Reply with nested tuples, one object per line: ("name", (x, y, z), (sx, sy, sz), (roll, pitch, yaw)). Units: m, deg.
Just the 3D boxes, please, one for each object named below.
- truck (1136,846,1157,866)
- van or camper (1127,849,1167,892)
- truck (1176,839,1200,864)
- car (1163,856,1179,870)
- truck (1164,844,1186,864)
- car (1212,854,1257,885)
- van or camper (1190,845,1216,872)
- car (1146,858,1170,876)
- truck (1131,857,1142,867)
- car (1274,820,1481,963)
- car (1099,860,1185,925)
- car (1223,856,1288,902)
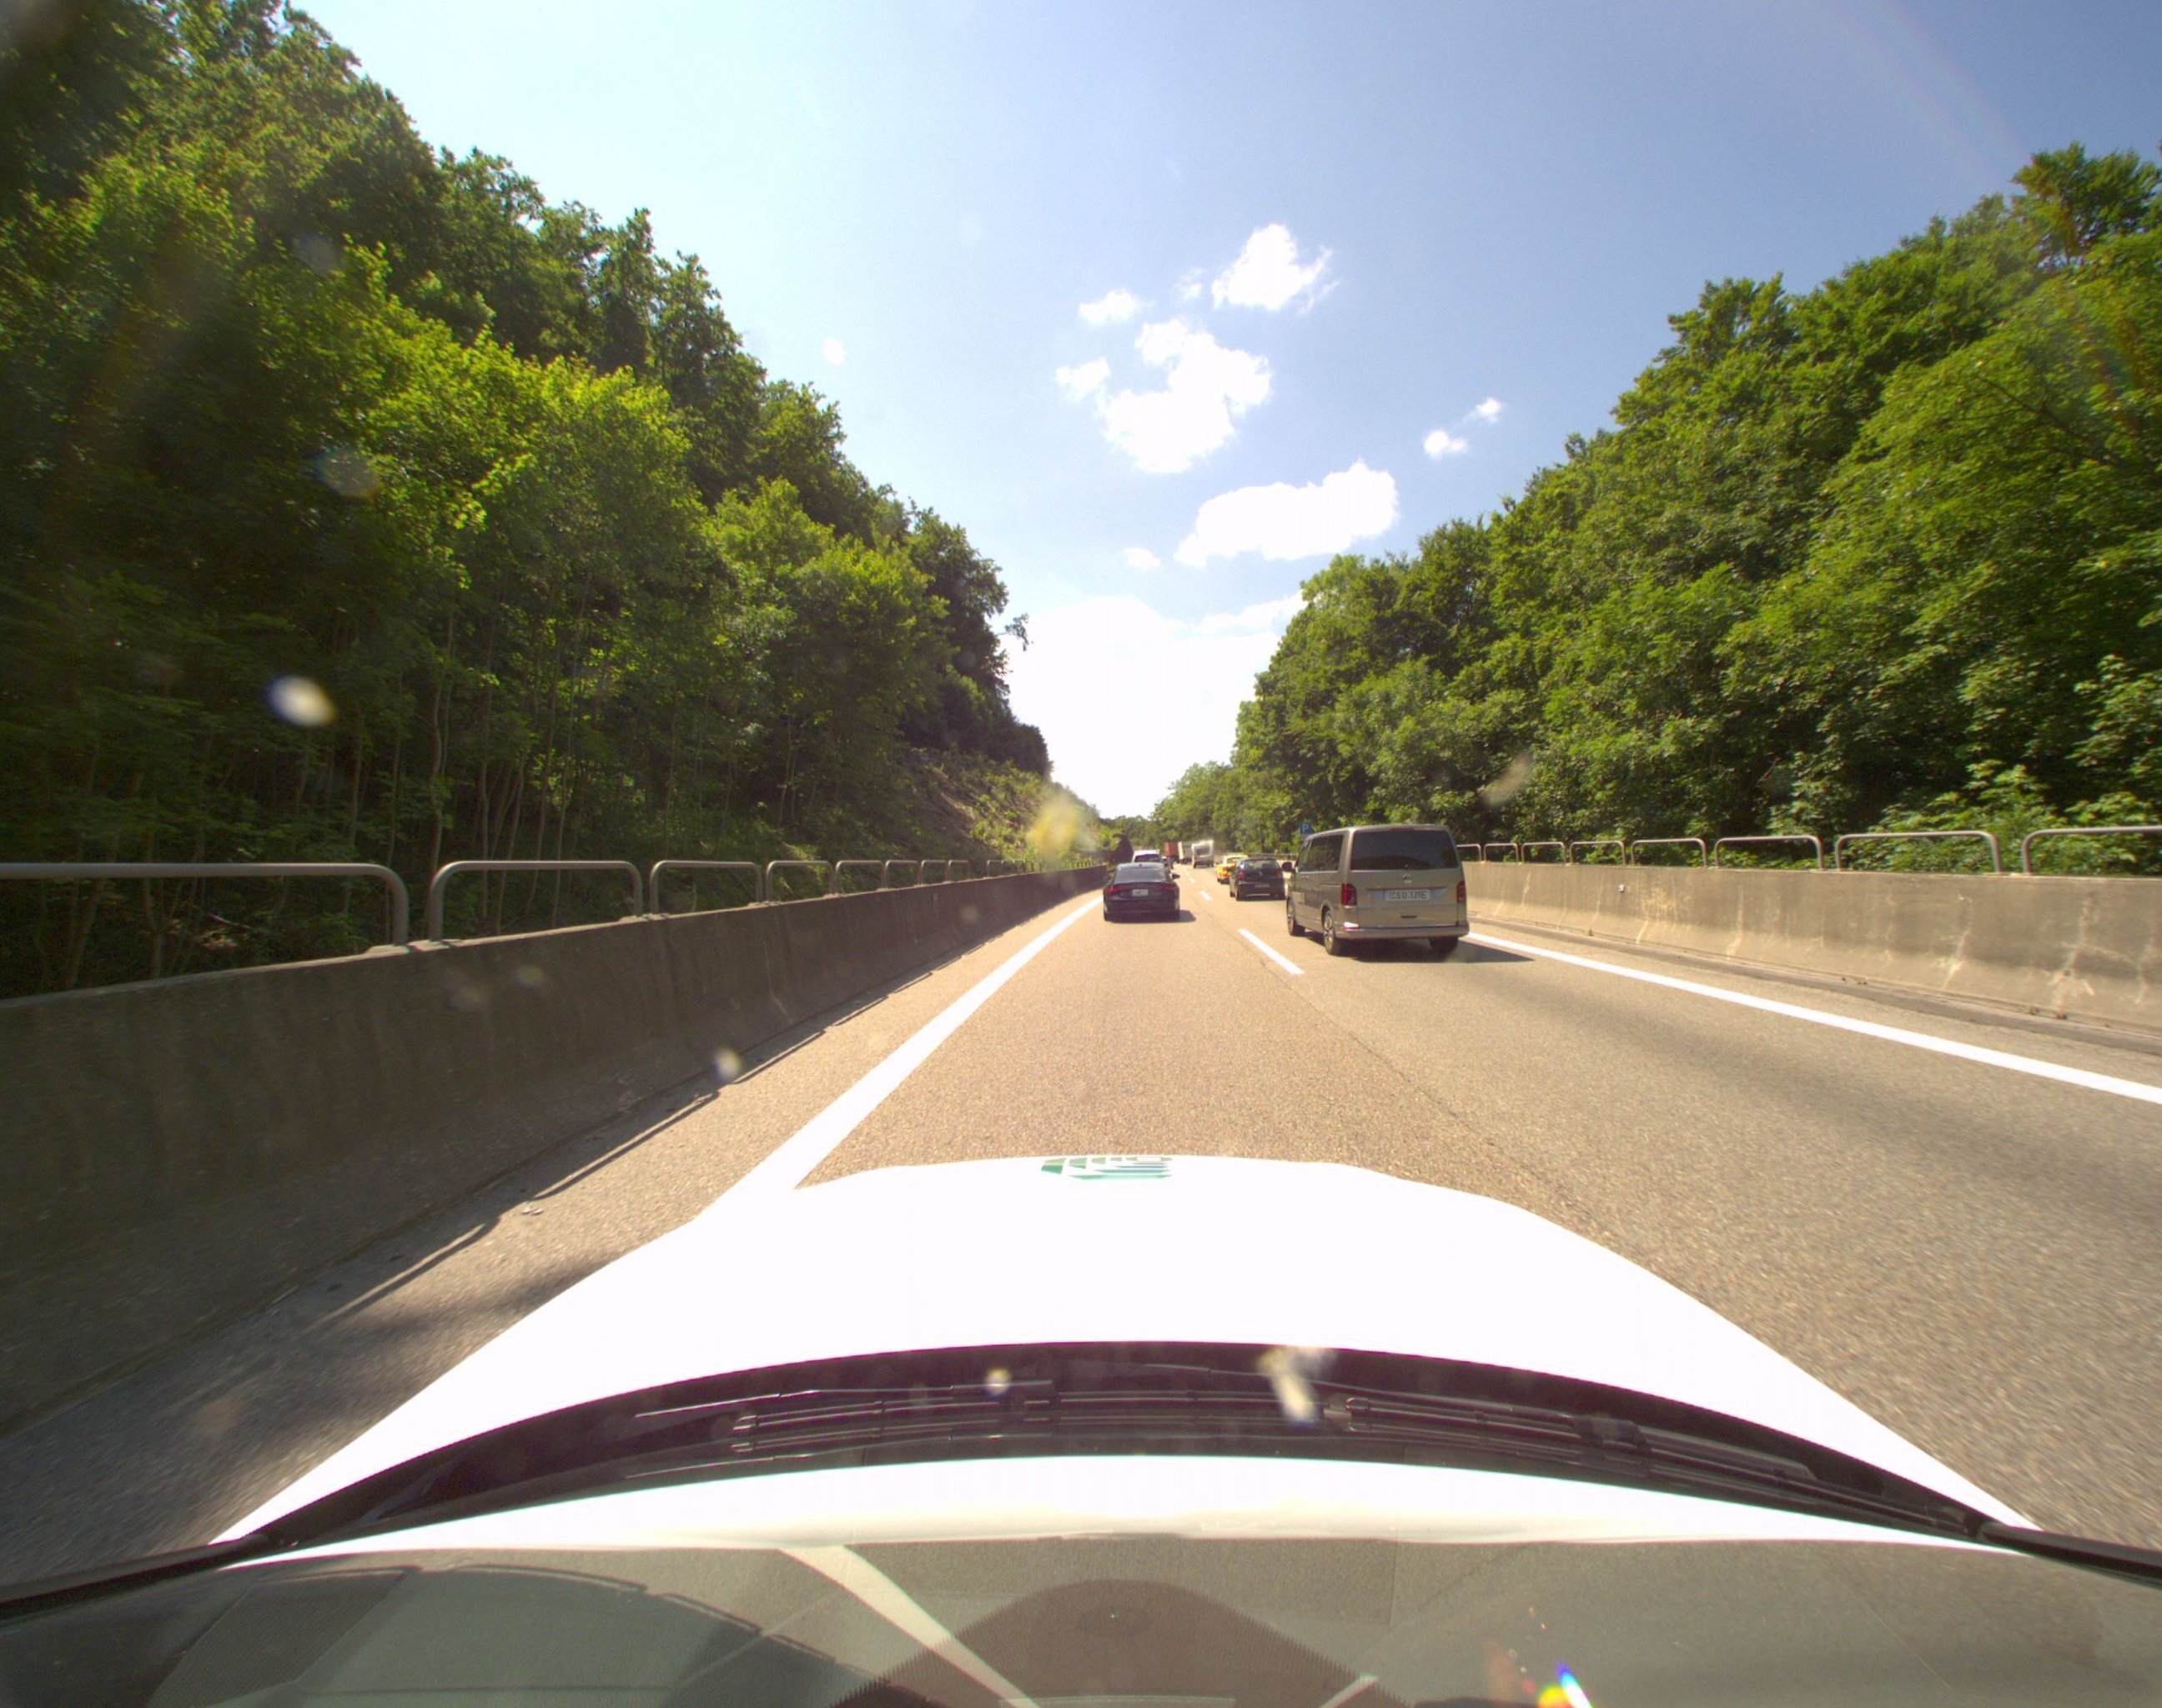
("truck", (14.920, 0.459, 186.559), (3.703, 4.504, 7.712), (-1, -1, -4))
("van or camper", (3.262, 0.784, 40.330), (1.845, 1.942, 4.170), (-1, -1, 4))
("truck", (16.419, -0.347, 125.488), (2.913, 3.687, 7.729), (-1, -1, 3))
("car", (10.570, 1.103, 95.975), (1.743, 1.571, 3.776), (-2, -1, 5))
("truck", (16.826, 0.051, 146.391), (3.153, 3.468, 8.222), (-1, -1, 1))
("car", (7.880, 0.793, 42.161), (1.800, 1.478, 4.086), (-1, 0, 4))
("van or camper", (13.368, 0.508, 89.476), (2.590, 2.855, 6.347), (-2, -1, 7))
("car", (6.984, 1.185, 74.152), (1.888, 1.584, 3.772), (-1, -1, 2))
("truck", (11.746, 1.654, 173.884), (1.988, 2.014, 3.998), (-1, -1, -1))
("car", (4.664, 0.533, 13.636), (1.932, 1.931, 4.698), (-1, -1, 3))
("car", (1.482, 0.921, 21.314), (1.898, 1.489, 4.379), (-1, 0, 0))
("car", (6.008, 0.813, 28.424), (1.677, 1.458, 4.004), (-1, 0, 4))
